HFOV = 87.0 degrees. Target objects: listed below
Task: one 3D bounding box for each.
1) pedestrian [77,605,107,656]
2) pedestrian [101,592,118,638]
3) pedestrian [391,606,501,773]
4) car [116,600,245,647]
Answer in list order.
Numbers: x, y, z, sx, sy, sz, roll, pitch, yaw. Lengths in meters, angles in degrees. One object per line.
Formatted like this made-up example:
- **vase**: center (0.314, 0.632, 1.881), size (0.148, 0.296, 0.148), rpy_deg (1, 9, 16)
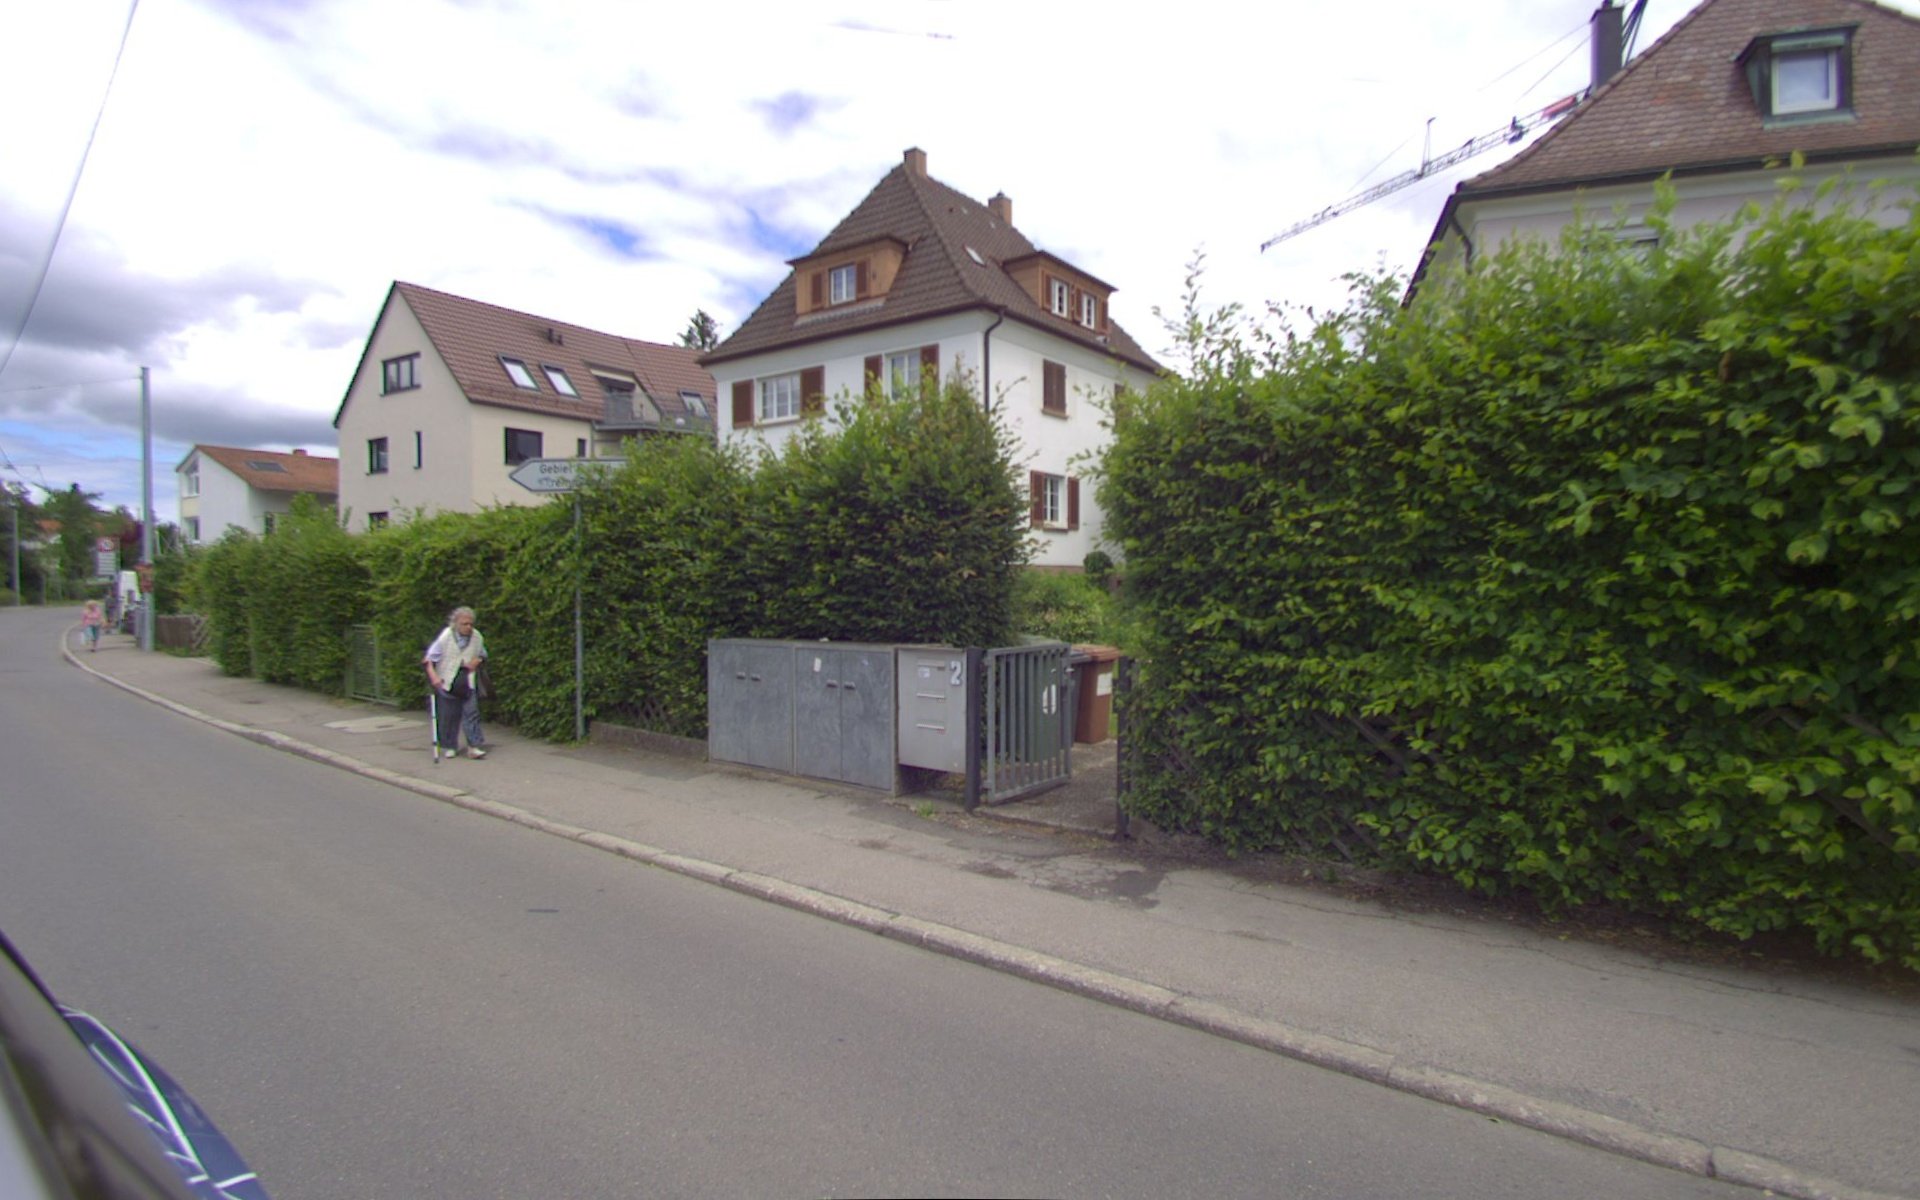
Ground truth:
- **pedestrian**: center (-27.560, 0.963, 32.133), size (0.608, 1.611, 0.611), rpy_deg (-1, 0, 40)
- **pedestrian**: center (-37.225, 0.659, 44.278), size (0.528, 1.966, 0.528), rpy_deg (-1, 0, -39)
- **pedestrian**: center (-5.050, 0.851, 9.970), size (0.542, 1.542, 0.742), rpy_deg (-1, 1, 28)
- **car**: center (-31.798, 0.920, 41.353), size (1.885, 1.741, 3.943), rpy_deg (-1, 0, 43)
